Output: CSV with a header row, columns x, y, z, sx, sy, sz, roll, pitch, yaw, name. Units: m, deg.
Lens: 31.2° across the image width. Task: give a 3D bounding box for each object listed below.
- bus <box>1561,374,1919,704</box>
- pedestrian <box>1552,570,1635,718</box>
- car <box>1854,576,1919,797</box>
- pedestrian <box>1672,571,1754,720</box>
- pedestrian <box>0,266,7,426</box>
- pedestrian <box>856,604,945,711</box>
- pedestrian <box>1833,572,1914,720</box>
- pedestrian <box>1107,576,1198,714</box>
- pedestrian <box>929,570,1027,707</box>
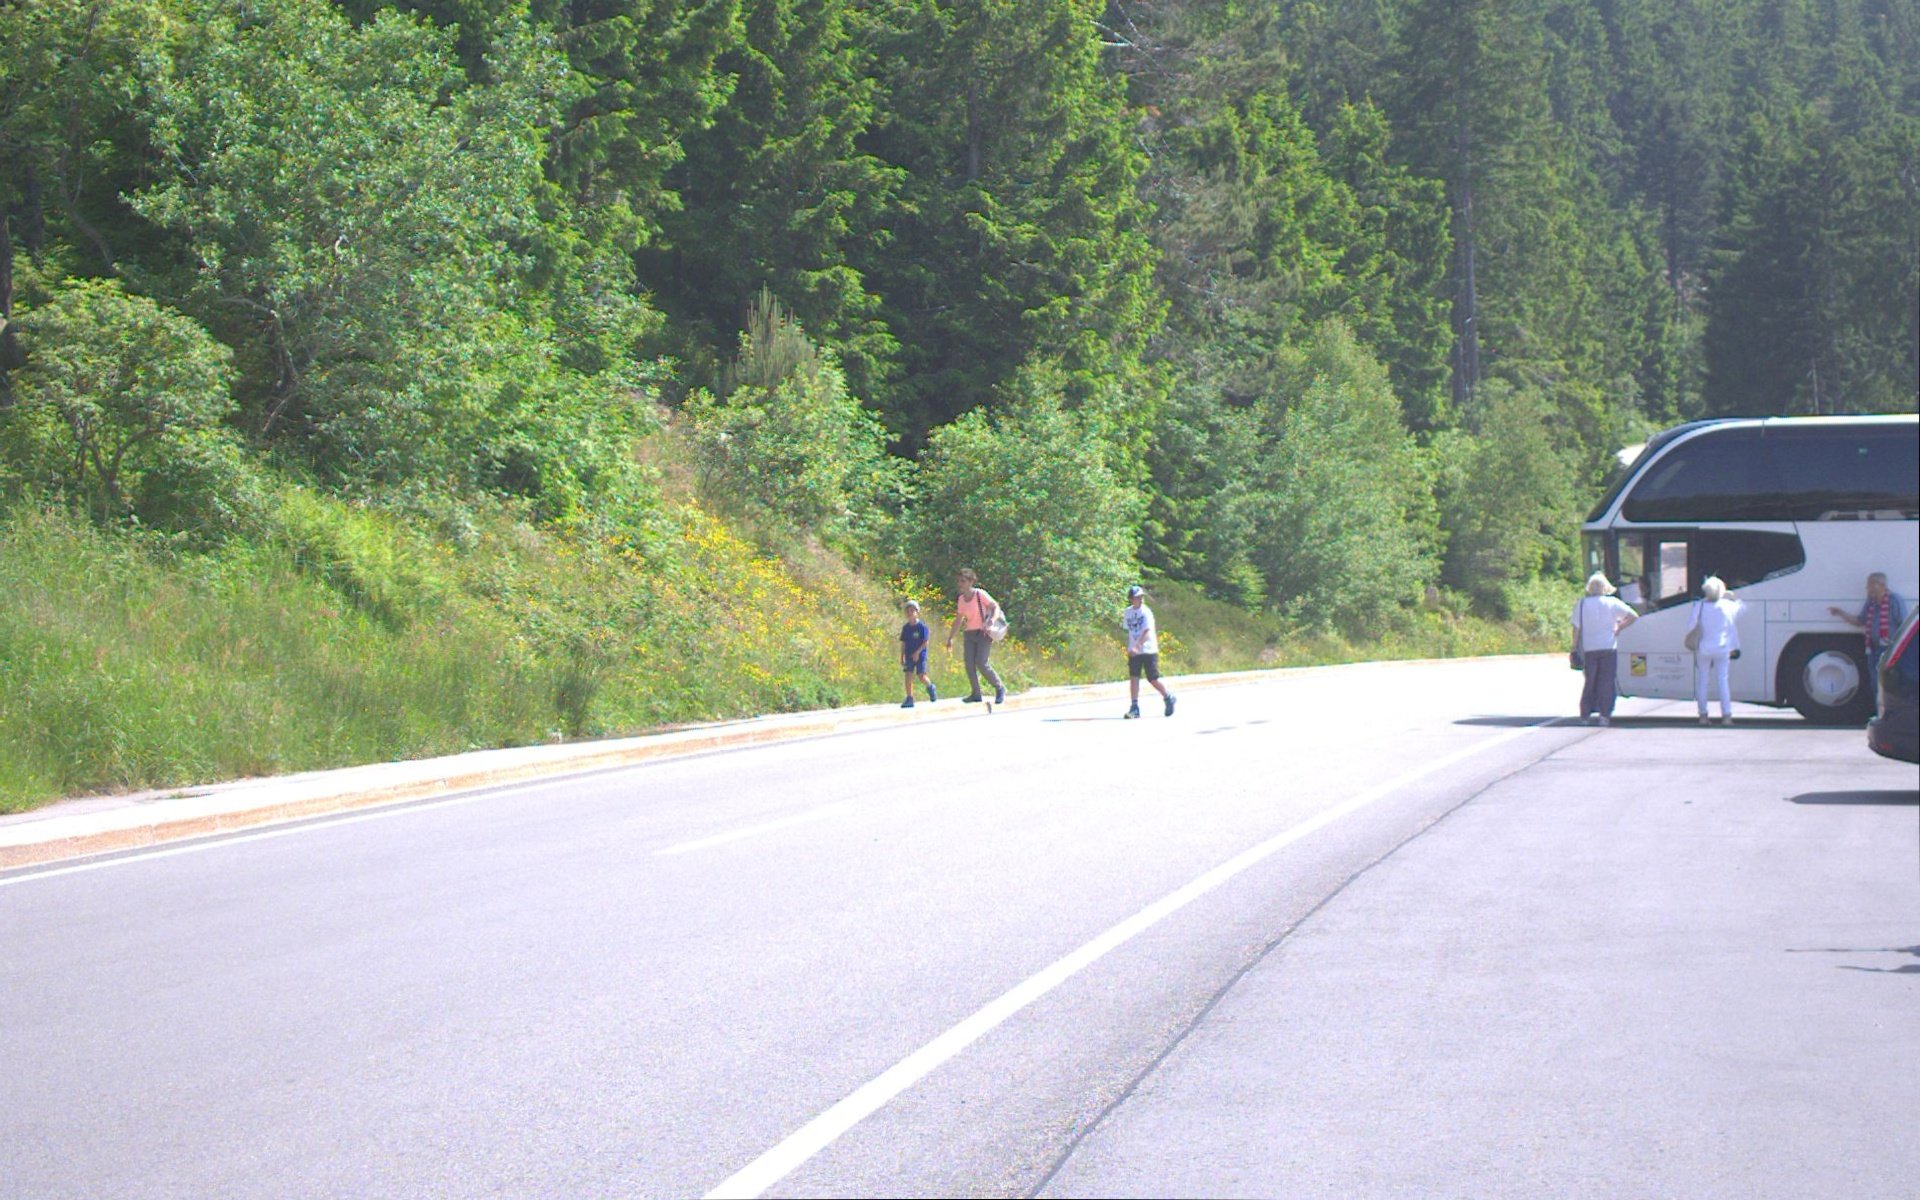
x,y,z,sx,sy,sz,roll,pitch,yaw,name
13.423,-0.752,37.530,13.107,3.520,3.040,-1,0,21,bus
6.949,0.477,37.696,0.771,1.580,0.772,-1,0,17,pedestrian
8.191,0.525,23.262,3.989,1.444,1.860,-1,0,11,car
8.167,0.489,37.264,0.771,1.580,0.772,-1,0,17,pedestrian
-11.739,-3.013,40.952,0.680,1.871,0.542,-2,0,-16,pedestrian
-0.731,0.706,42.319,0.782,1.275,0.735,-1,0,33,pedestrian
9.898,0.493,37.242,0.770,1.580,0.772,-1,0,18,pedestrian
2.262,0.522,40.476,0.853,1.580,0.818,-1,0,-11,pedestrian
0.229,0.480,43.202,0.868,1.677,0.855,-1,0,33,pedestrian
